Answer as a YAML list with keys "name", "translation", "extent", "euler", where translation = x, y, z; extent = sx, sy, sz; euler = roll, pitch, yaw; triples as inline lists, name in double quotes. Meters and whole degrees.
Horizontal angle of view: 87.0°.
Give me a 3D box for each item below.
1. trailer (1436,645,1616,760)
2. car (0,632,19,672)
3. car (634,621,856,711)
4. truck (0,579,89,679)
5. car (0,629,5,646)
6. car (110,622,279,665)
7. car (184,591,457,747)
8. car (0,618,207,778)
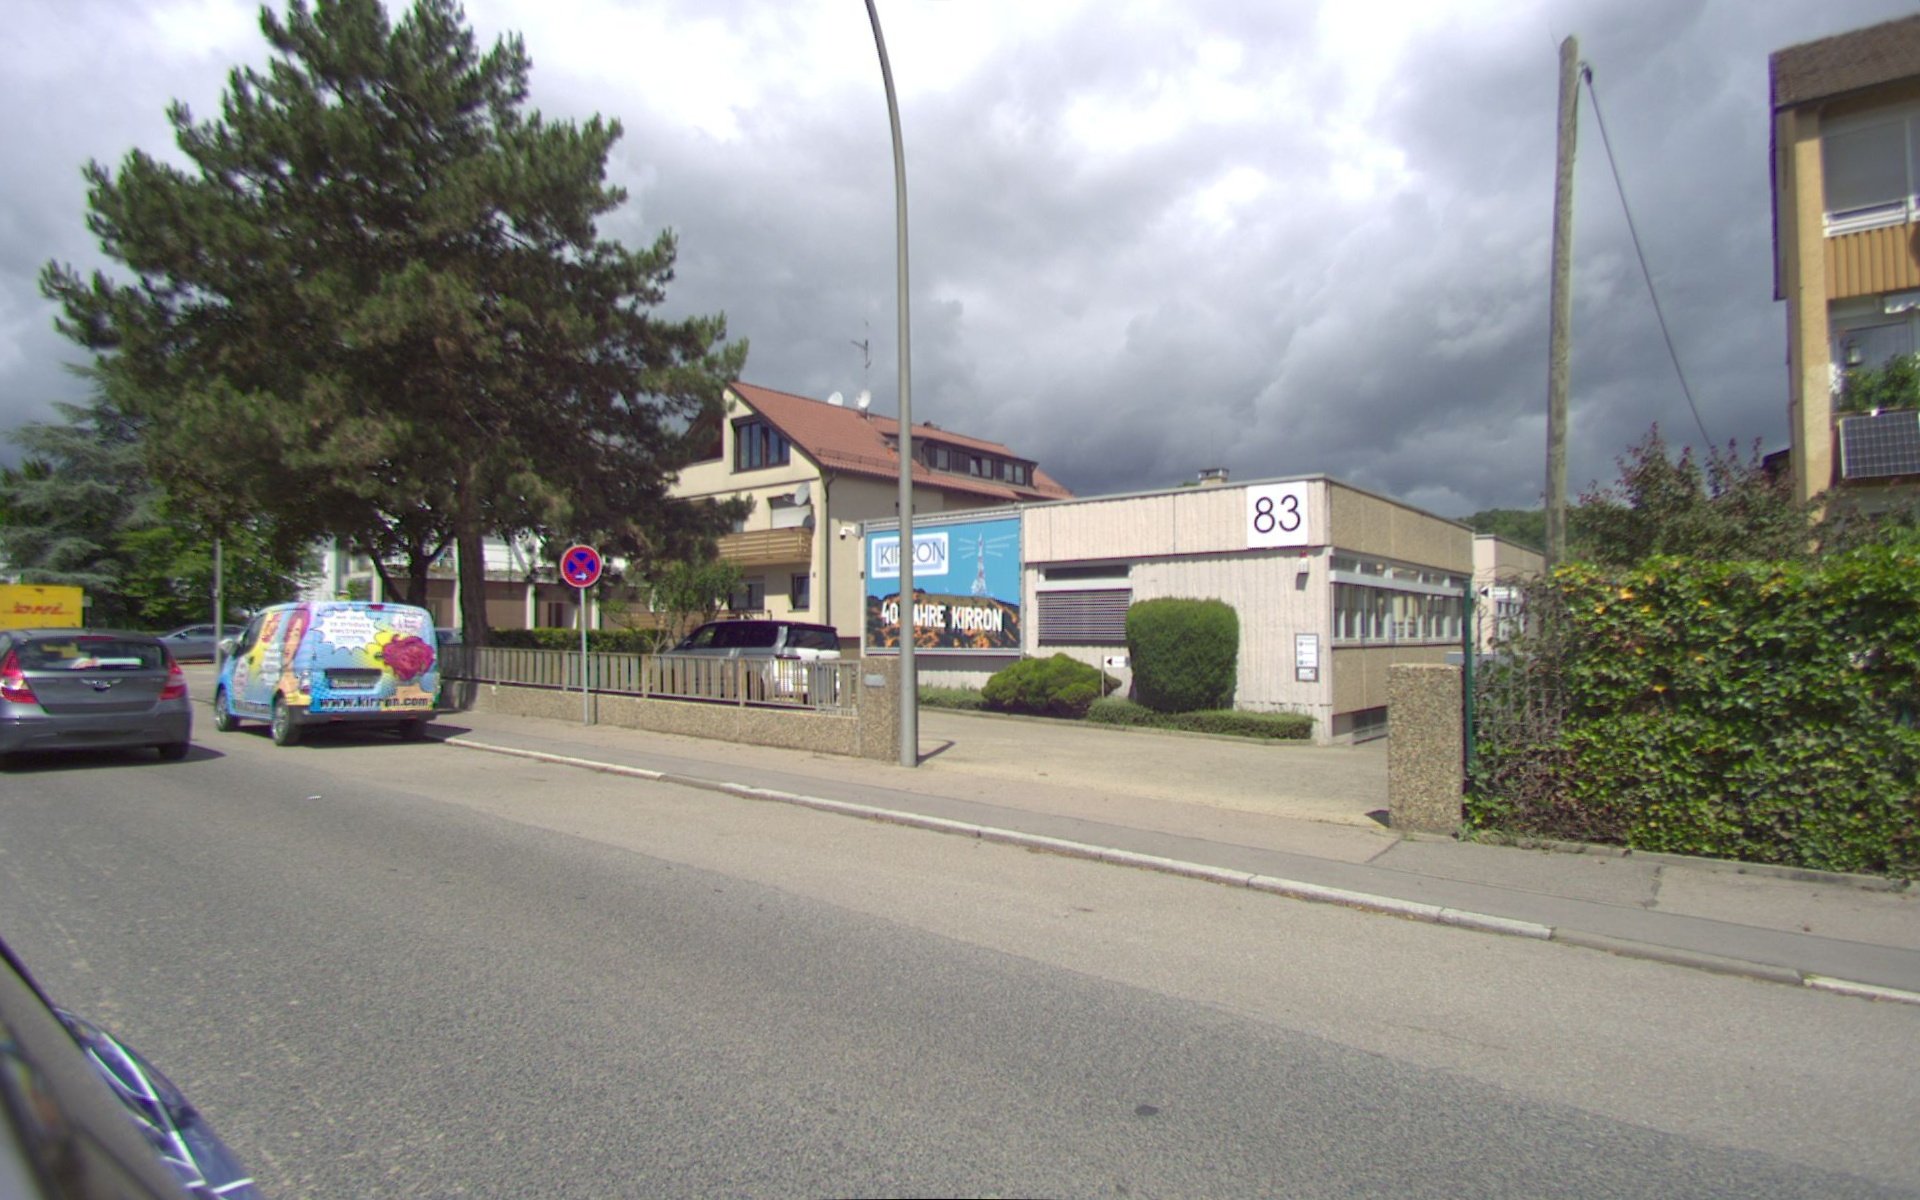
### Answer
- name: "trailer"
  translation: [11.011, 2.019, 19.580]
  extent: [2.456, 1.899, 3.949]
  euler: [-2, -9, 38]
- name: "car"
  translation: [-37.692, 1.929, 38.644]
  extent: [4.809, 1.464, 1.973]
  euler: [-1, -6, 41]
- name: "car"
  translation: [-5.068, 1.435, 23.353]
  extent: [5.475, 1.845, 2.058]
  euler: [-1, -3, 40]
- name: "truck"
  translation: [-31.673, 0.997, 33.874]
  extent: [7.810, 3.026, 2.300]
  euler: [-1, -5, 39]
- name: "car"
  translation: [-87.312, 3.301, 89.441]
  extent: [1.673, 1.505, 3.996]
  euler: [-1, -3, 39]
- name: "car"
  translation: [-29.881, 1.680, 39.647]
  extent: [1.970, 1.563, 4.959]
  euler: [-1, -2, 38]
- name: "car"
  translation: [-9.217, 0.974, 14.410]
  extent: [4.892, 1.868, 1.814]
  euler: [-2, -6, 40]
- name: "car"
  translation: [-10.409, 1.000, 11.569]
  extent: [4.314, 1.529, 1.882]
  euler: [-1, -3, 39]
